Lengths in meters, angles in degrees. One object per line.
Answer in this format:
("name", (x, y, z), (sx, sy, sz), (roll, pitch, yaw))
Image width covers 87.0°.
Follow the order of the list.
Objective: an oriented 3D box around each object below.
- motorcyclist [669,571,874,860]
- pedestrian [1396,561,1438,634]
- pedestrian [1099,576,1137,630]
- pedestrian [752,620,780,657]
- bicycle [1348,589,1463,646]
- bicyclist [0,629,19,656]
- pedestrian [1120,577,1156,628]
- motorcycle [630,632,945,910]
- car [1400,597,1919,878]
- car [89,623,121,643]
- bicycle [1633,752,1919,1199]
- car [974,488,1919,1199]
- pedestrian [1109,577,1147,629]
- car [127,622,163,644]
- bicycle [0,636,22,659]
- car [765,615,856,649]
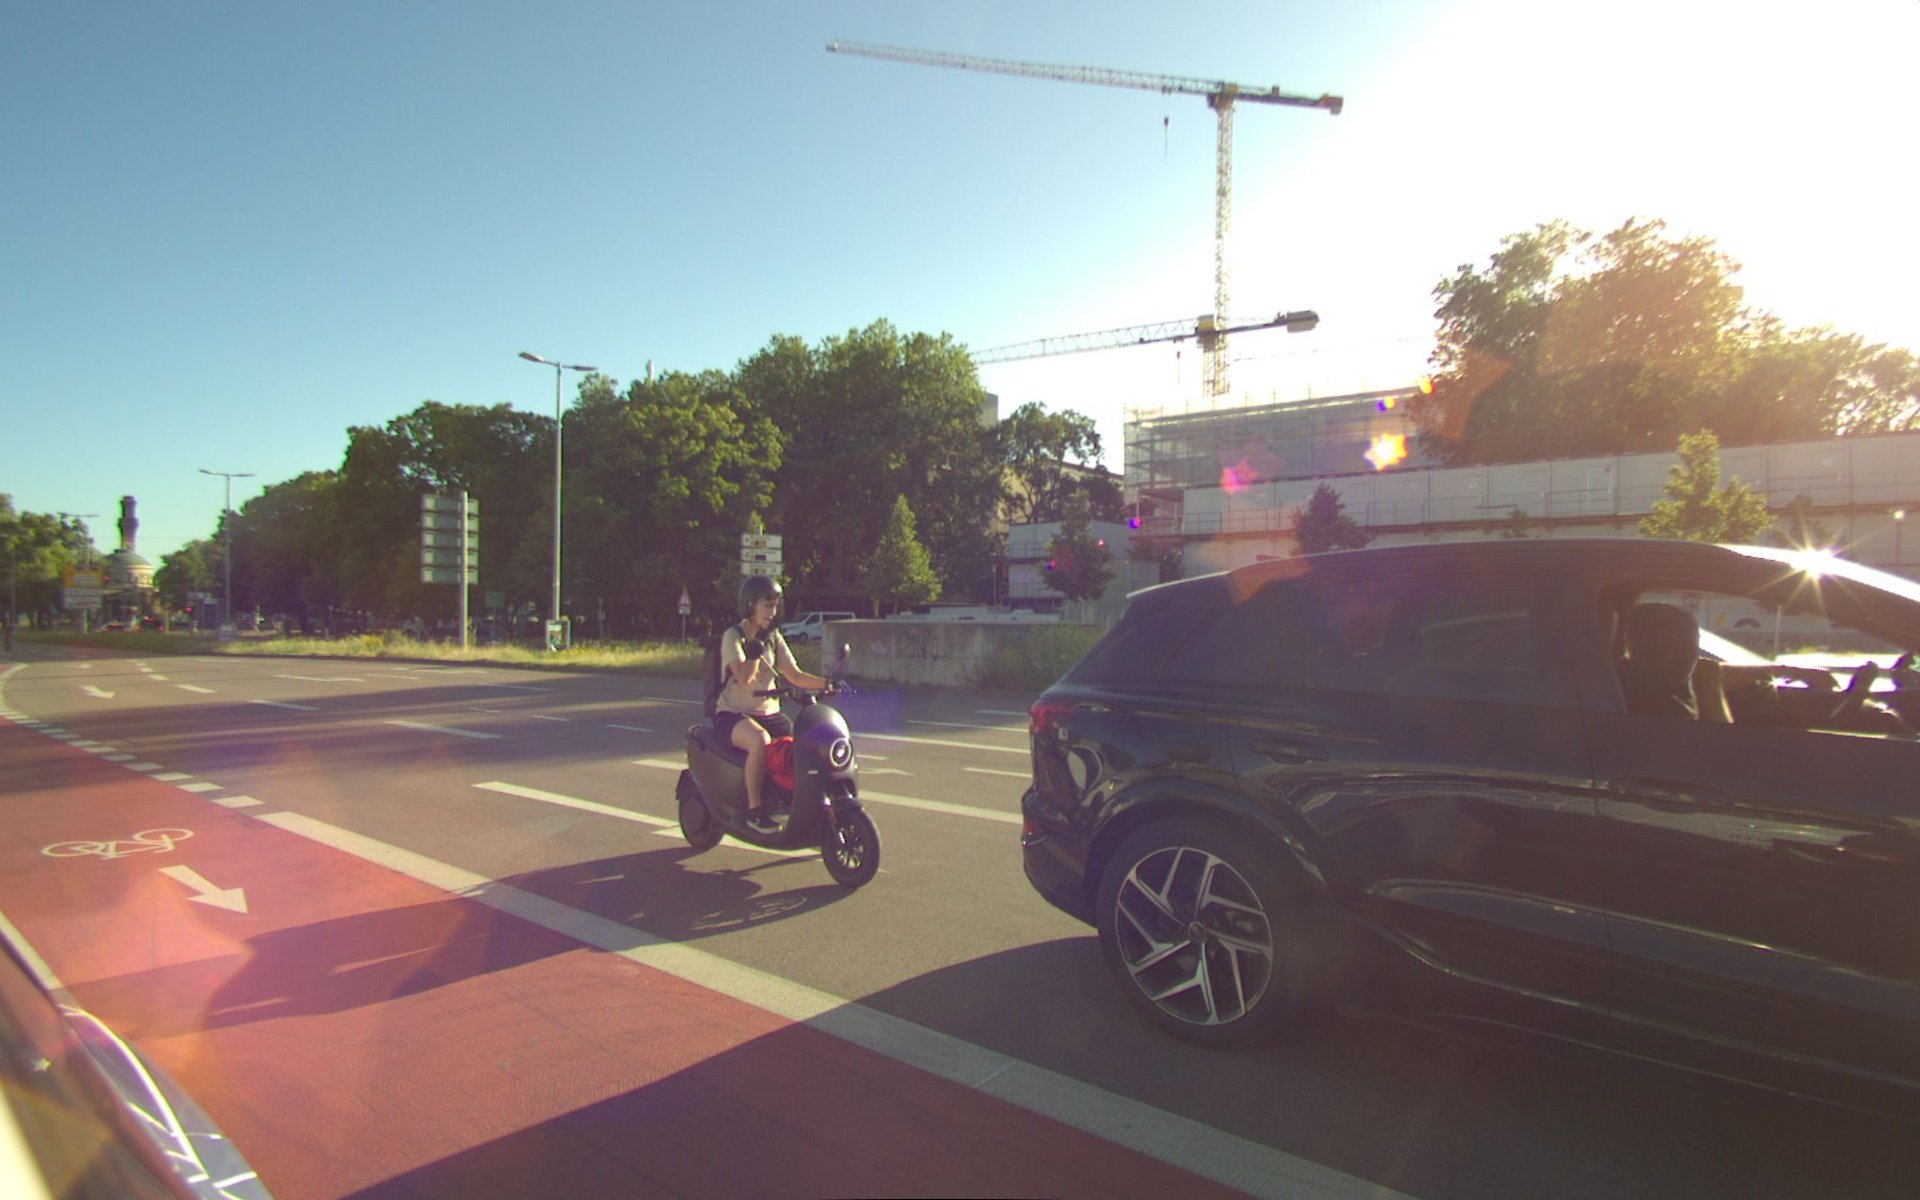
("motorcyclist", (-1.080, 0.599, 5.772), (0.917, 1.485, 0.717), (-2, -1, 41))
("pedestrian", (15.230, -0.083, 33.721), (1.017, 2.393, 1.008), (-1, 0, 39))
("pedestrian", (6.090, 0.116, 39.033), (1.135, 2.029, 0.930), (-1, 0, 35))
("pedestrian", (-9.943, 1.956, 51.837), (1.018, 1.845, 0.977), (-1, 0, 37))
("bicycle", (14.923, 0.587, 33.998), (3.355, 1.824, 1.066), (-1, 0, 40))
("bicyclist", (-50.001, 2.217, 53.070), (0.829, 1.358, 0.843), (-2, -1, 41))
("pedestrian", (7.136, 0.102, 40.623), (1.135, 2.029, 0.930), (-1, 0, 35))
("motorcycle", (-1.034, 0.845, 5.731), (1.883, 1.303, 0.715), (-2, -1, 41))
("car", (4.973, 0.757, 6.548), (3.603, 1.497, 1.477), (-2, -1, 41))
("car", (-79.876, 3.047, 94.528), (3.945, 1.802, 1.725), (-1, 0, 41))
("bicycle", (1.425, 0.785, 0.432), (1.829, 1.227, 0.610), (-2, -1, 39))
("car", (2.415, 0.579, 3.028), (4.677, 1.647, 1.753), (-1, 0, 40))
("pedestrian", (6.614, 0.109, 39.832), (1.135, 2.029, 0.930), (-1, 0, 35))
("car", (-71.222, 2.861, 88.412), (3.998, 1.841, 1.796), (-1, 0, 41))
("bicycle", (-49.834, 2.483, 52.926), (2.806, 1.124, 0.843), (-2, -1, 41))
("car", (-9.065, 1.933, 61.846), (2.065, 1.950, 5.443), (-1, -2, 42))
